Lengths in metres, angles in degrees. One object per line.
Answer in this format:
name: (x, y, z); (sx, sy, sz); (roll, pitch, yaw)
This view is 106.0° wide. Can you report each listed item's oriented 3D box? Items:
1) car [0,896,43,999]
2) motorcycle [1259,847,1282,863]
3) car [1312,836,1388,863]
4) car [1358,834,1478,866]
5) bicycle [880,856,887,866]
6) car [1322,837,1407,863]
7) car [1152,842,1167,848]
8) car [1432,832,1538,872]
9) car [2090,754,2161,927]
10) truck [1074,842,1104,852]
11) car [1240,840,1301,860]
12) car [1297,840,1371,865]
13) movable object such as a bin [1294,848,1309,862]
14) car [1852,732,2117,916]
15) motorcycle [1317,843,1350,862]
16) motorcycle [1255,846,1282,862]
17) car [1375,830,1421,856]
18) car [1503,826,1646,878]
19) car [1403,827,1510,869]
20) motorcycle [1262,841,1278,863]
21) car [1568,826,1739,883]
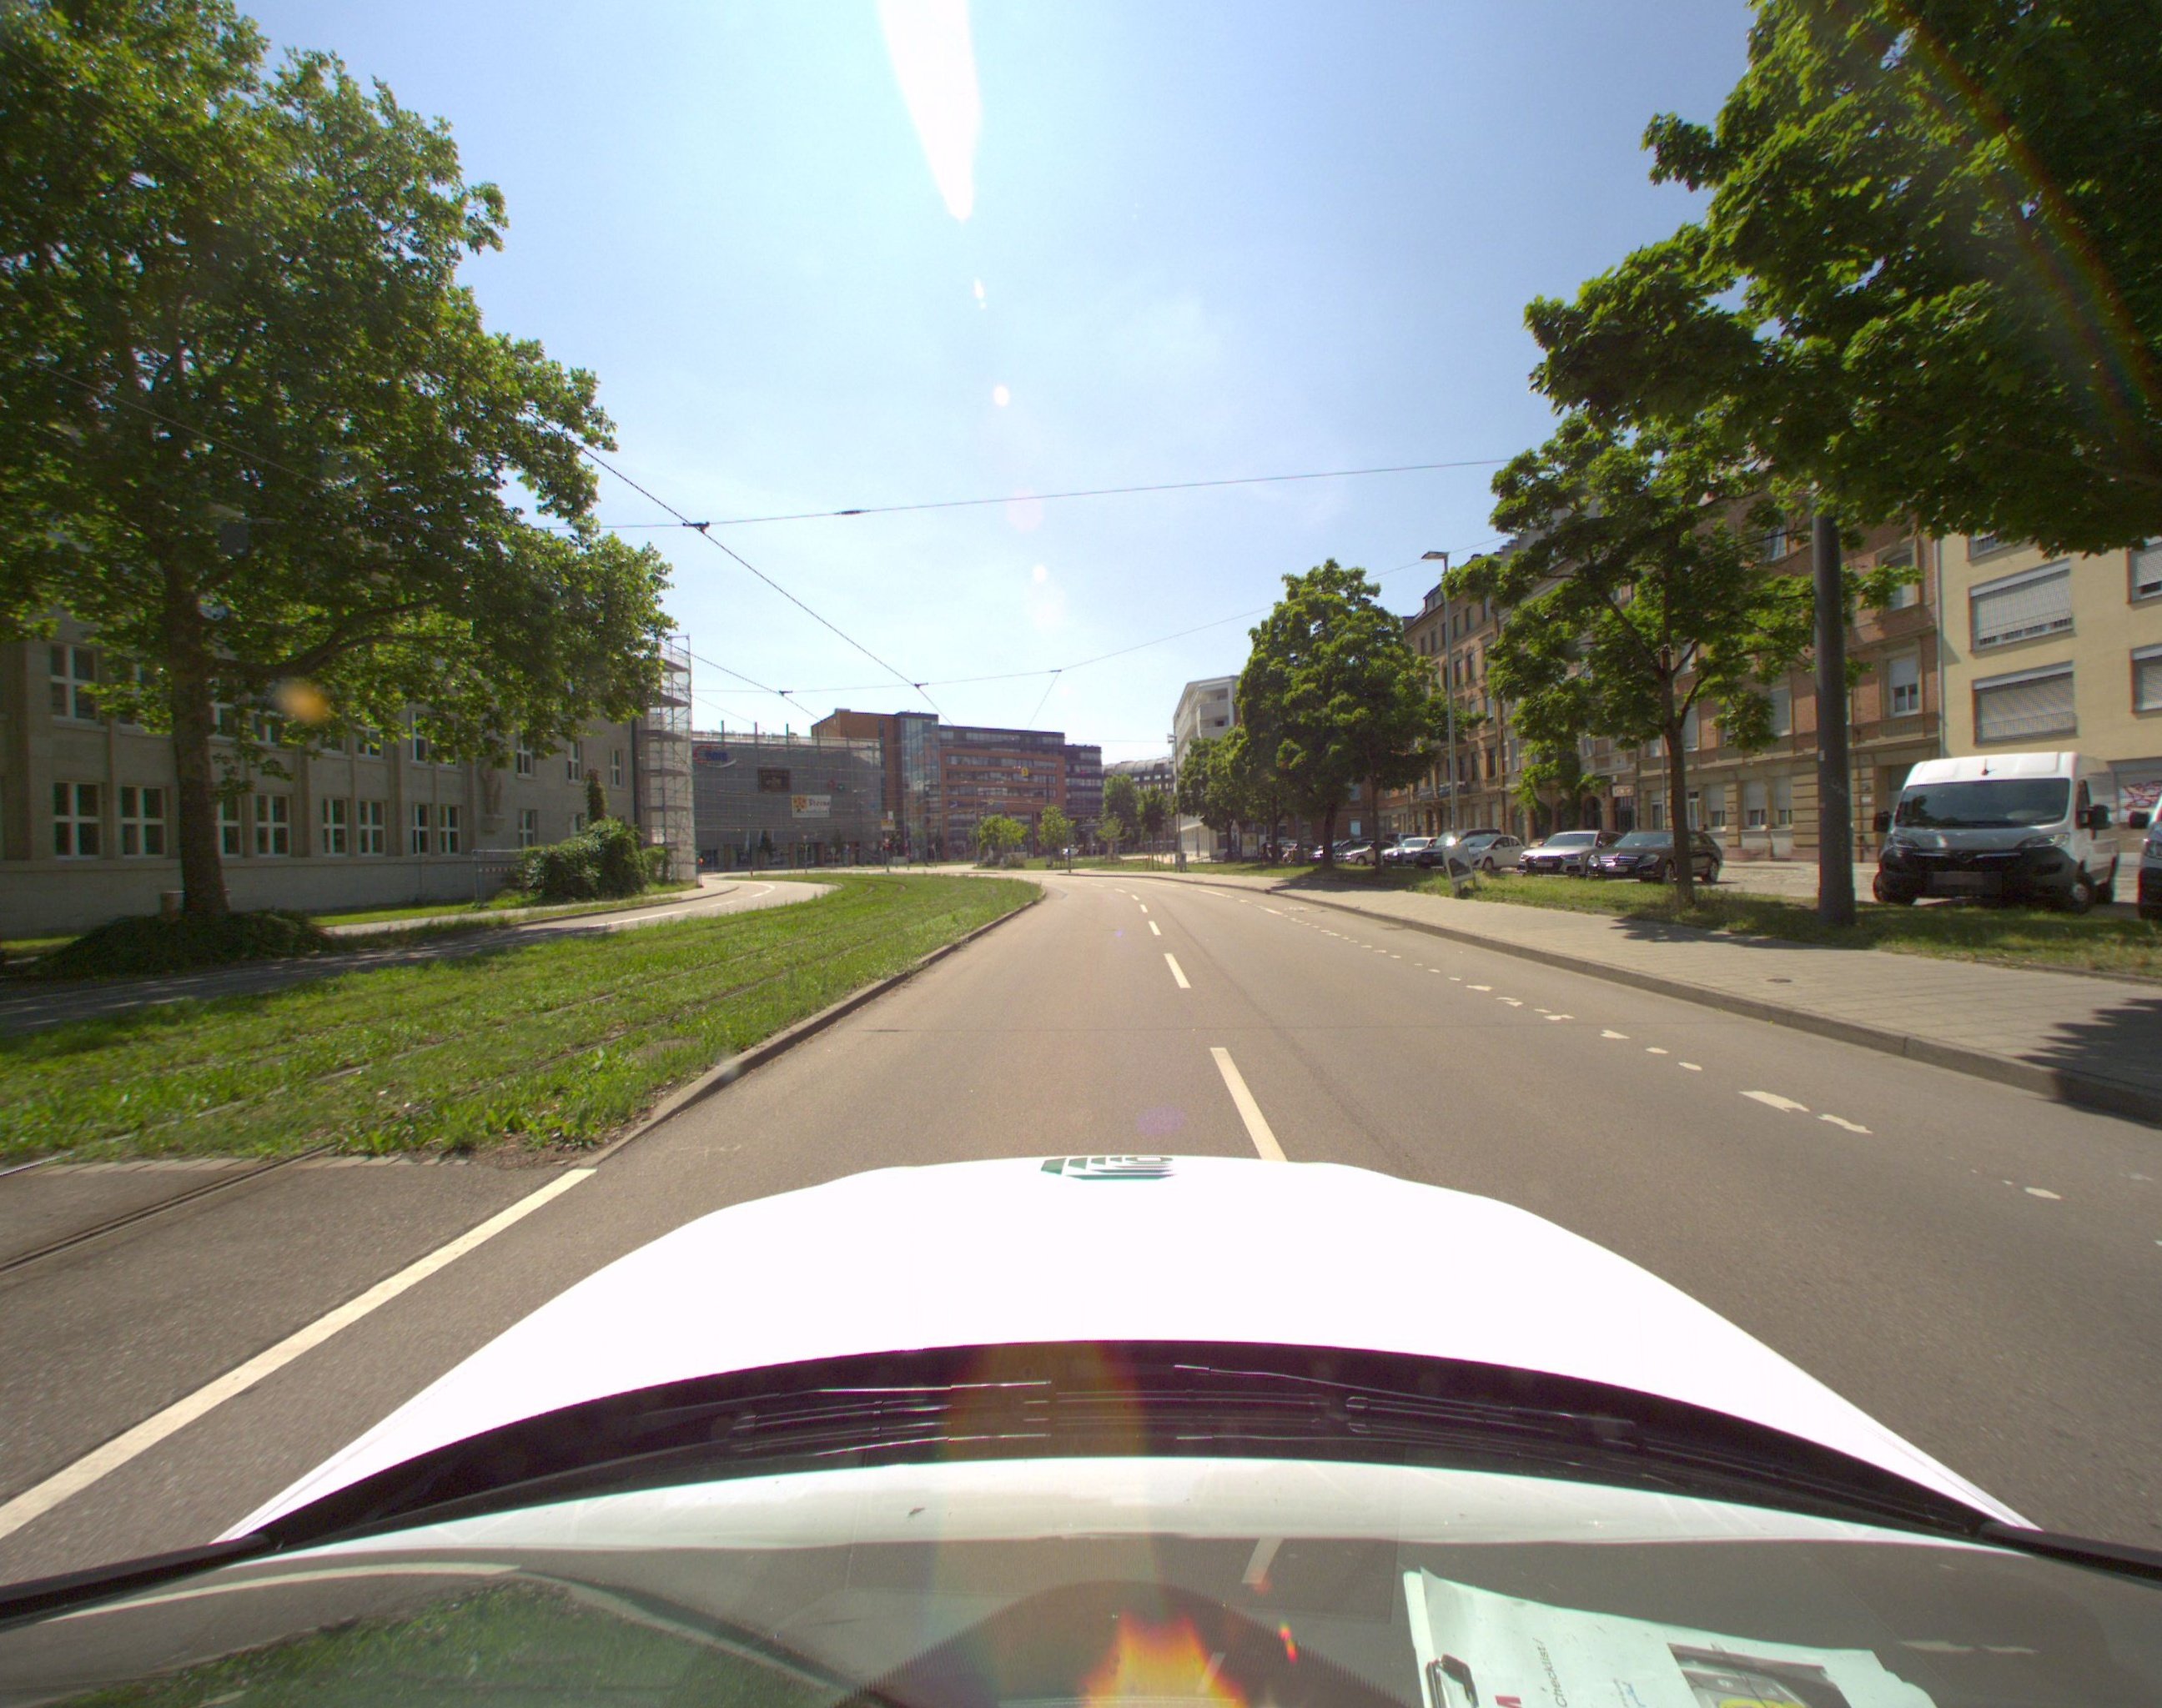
car: (-16.039, 1.365, 9.800); (1.583, 1.423, 4.321); (-1, 0, -1)
motorcycle: (13.457, 0.059, 57.871); (1.514, 1.120, 0.478); (-1, 0, 1)
car: (15.559, -0.288, 47.132); (4.099, 1.469, 1.783); (-1, 0, -26)
car: (15.041, -0.184, 36.415); (4.788, 1.313, 2.135); (-1, 0, -20)
bicycle: (-36.791, 1.263, 151.558); (0.603, 1.731, 2.236); (-1, 0, -34)
car: (15.325, -0.242, 44.034); (4.000, 1.313, 1.959); (-1, 0, -20)
car: (23.172, -2.772, 240.925); (3.948, 1.728, 1.878); (-1, 0, 33)
car: (15.445, -0.089, 31.111); (4.012, 1.400, 1.696); (-1, 0, -30)
car: (14.744, -0.204, 9.962); (4.859, 1.973, 2.058); (-1, 0, -27)
truck: (2.238, -1.948, 234.101); (9.120, 2.809, 2.013); (-1, 0, 34)
car: (15.823, -0.355, 67.970); (4.882, 1.600, 1.821); (-1, 0, -25)
car: (15.430, -0.110, 49.630); (4.354, 1.376, 1.570); (-1, 0, -24)
movable object such as a bin: (15.054, 0.045, 55.574); (0.979, 0.937, 0.704); (-1, 0, 13)
car: (15.017, -0.455, 13.437); (5.574, 2.460, 2.214); (-1, 0, -35)
motorcycle: (17.122, -0.101, 55.219); (2.062, 1.236, 0.816); (-1, 0, 17)
motorcycle: (13.581, -0.032, 59.037); (1.819, 1.120, 0.527); (-1, 0, -5)
car: (24.652, -0.836, 63.517); (1.912, 1.903, 4.657); (-1, 0, 3)
car: (14.985, -0.104, 24.648); (4.712, 1.427, 1.951); (-1, 0, -35)
car: (15.821, -0.261, 34.319); (4.005, 1.662, 1.957); (-1, 0, -24)
motorcycle: (12.667, -0.136, 54.492); (0.672, 1.413, 1.858); (-3, 0, 4)
car: (14.912, -0.033, 21.180); (4.445, 1.338, 1.953); (-1, 0, -30)
